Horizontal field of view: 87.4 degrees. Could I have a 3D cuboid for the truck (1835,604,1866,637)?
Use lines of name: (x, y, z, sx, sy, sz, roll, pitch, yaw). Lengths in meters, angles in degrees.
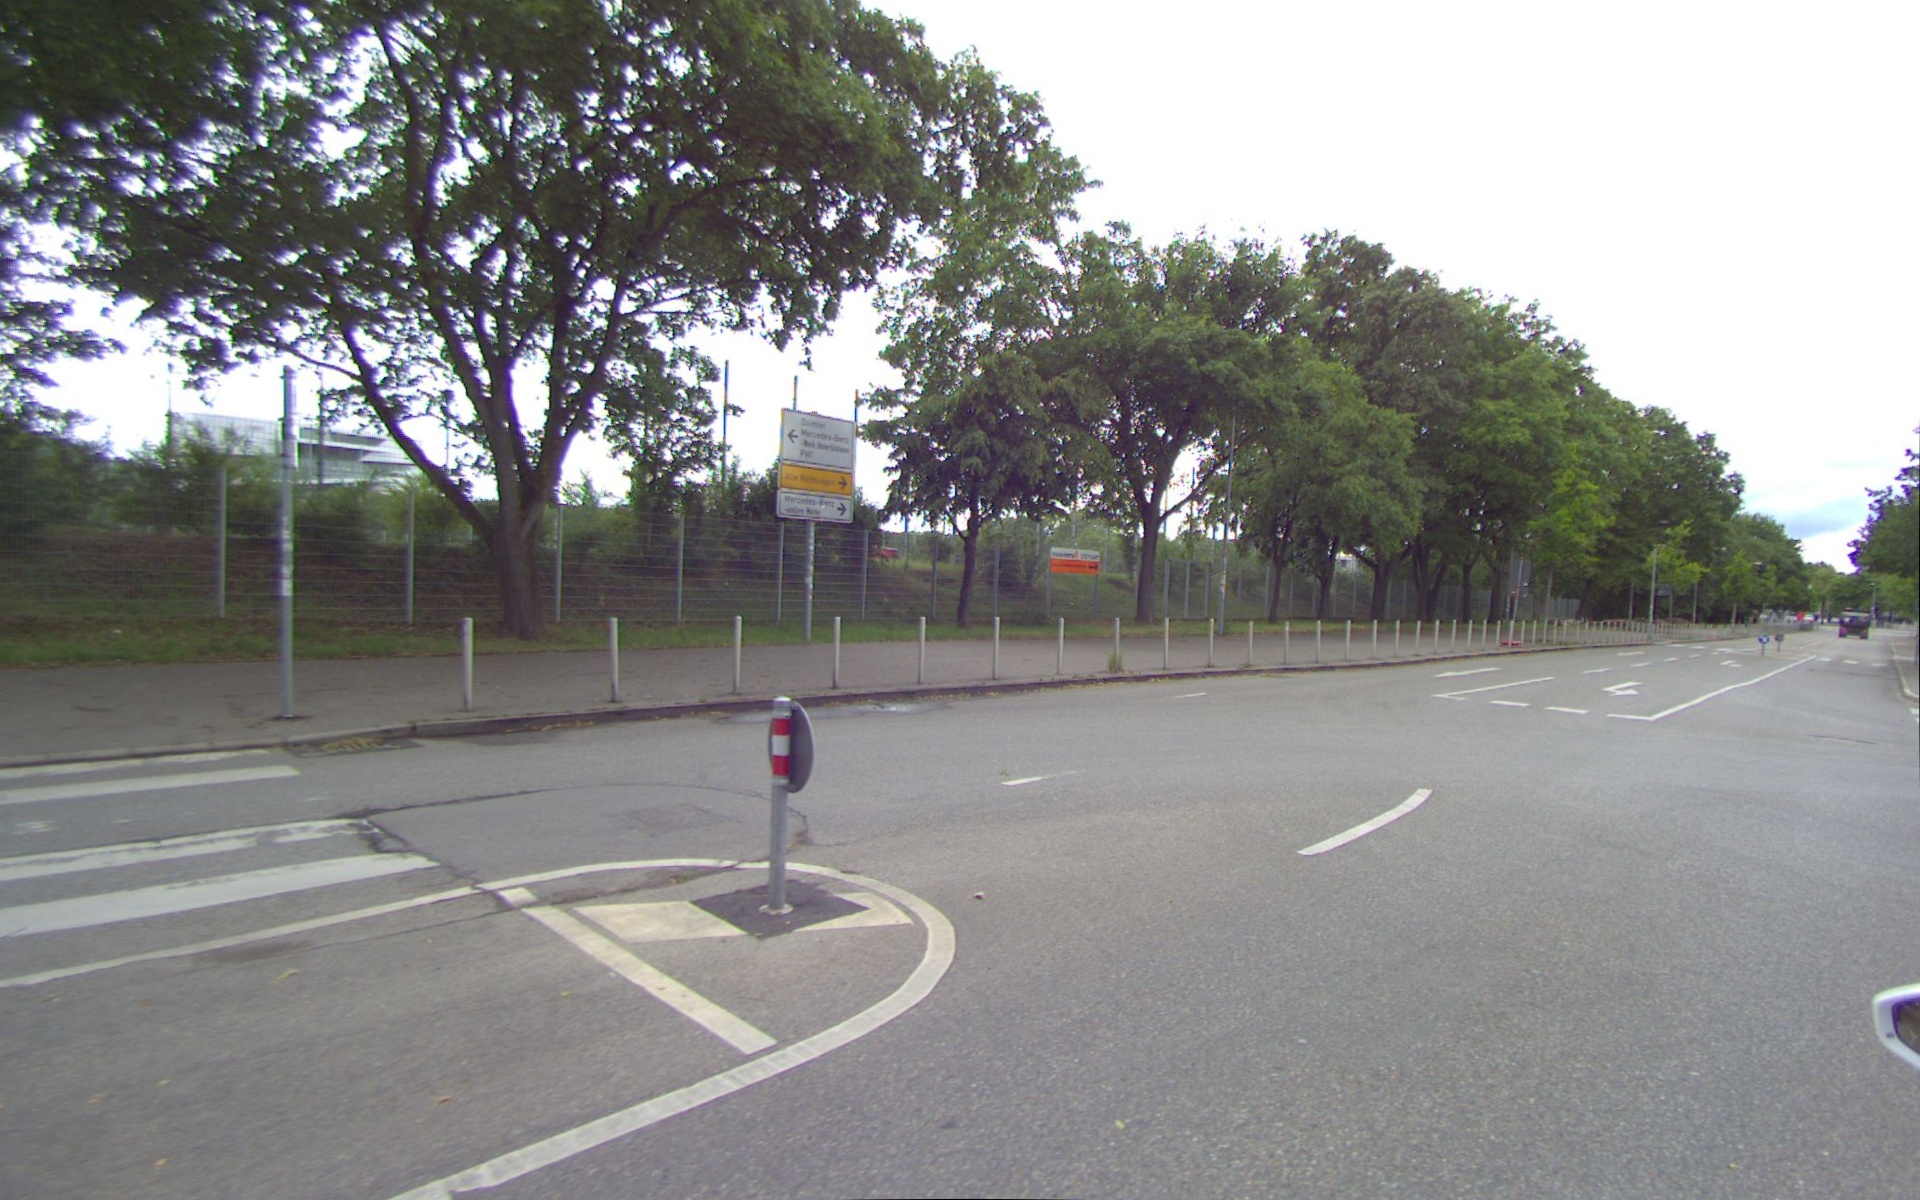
truck: (102.560, 2.424, 115.653, 2.643, 3.605, 7.880, 0, -2, 42)
